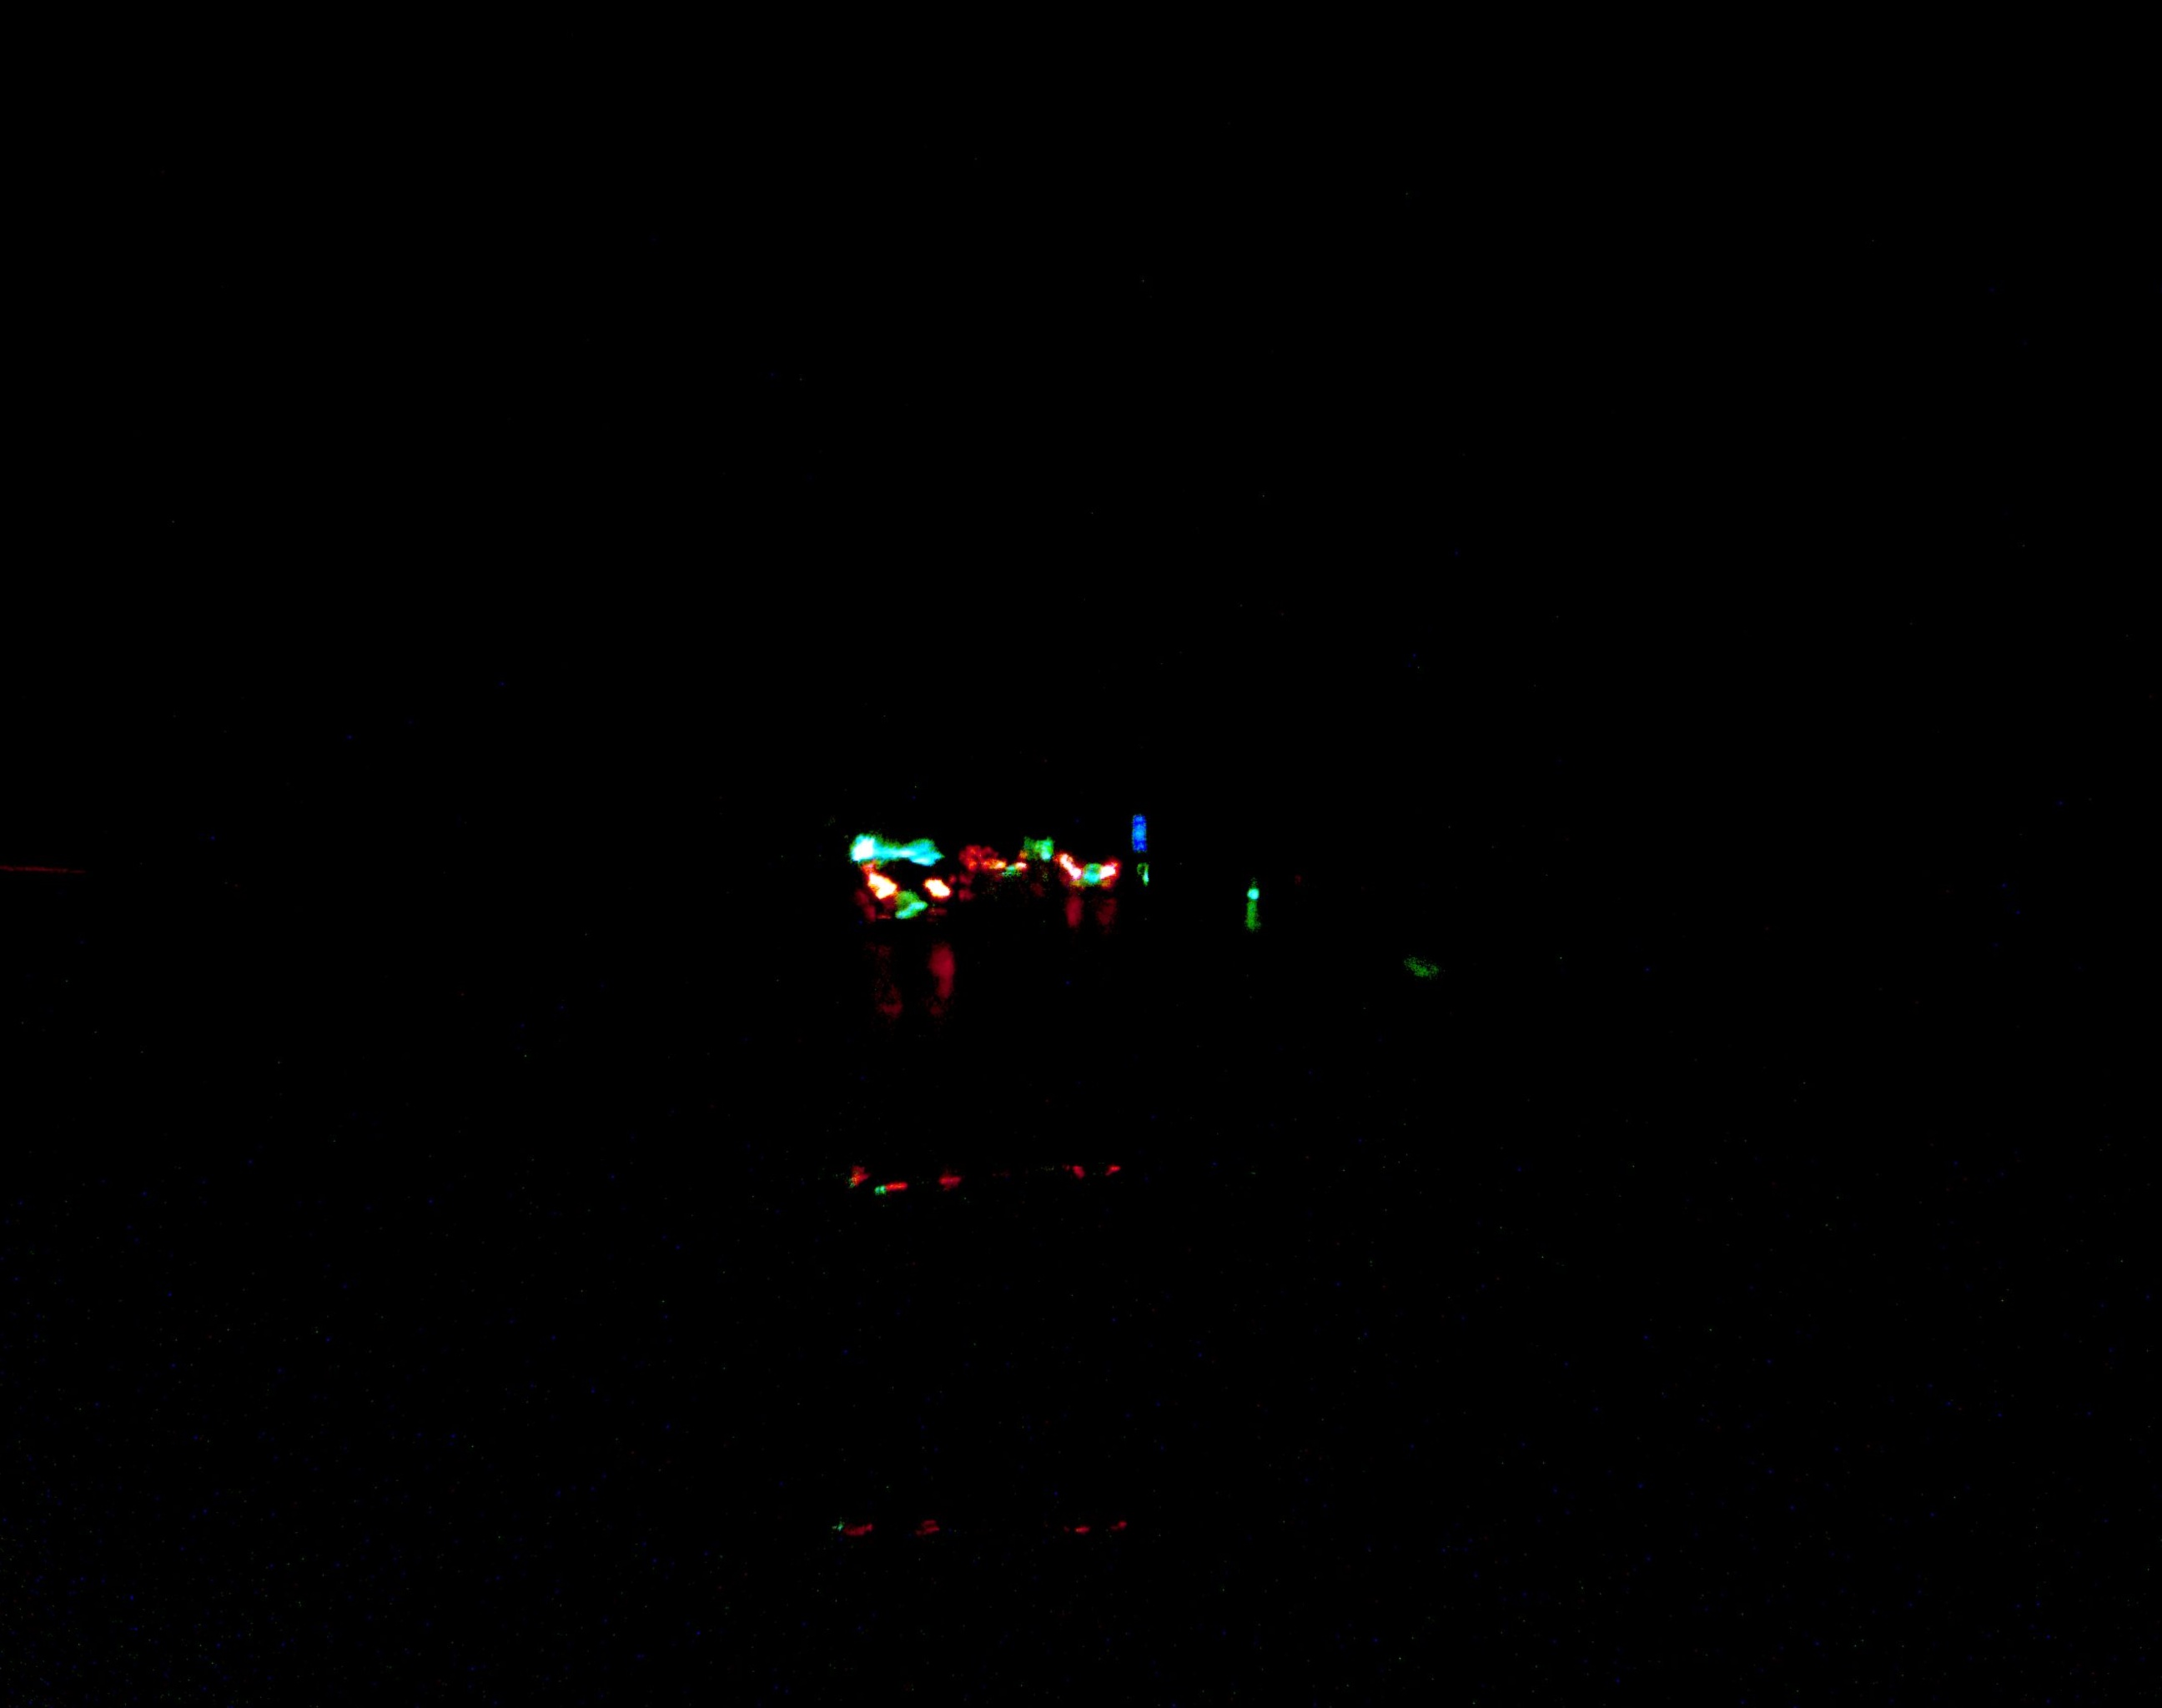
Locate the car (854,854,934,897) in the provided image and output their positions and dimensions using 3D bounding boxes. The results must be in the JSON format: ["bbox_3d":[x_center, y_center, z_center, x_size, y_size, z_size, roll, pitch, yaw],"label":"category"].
[{"bbox_3d":[-6.970,0.756,30.864,1.761,1.517,4.916,0,0,1],"label":"car"}]

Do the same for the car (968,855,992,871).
[{"bbox_3d":[-10.071,0.911,81.734,1.886,1.550,3.999,0,-1,0],"label":"car"}]

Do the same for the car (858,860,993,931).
[{"bbox_3d":[-3.300,0.852,18.162,1.953,1.380,4.053,1,-1,4],"label":"car"}]
